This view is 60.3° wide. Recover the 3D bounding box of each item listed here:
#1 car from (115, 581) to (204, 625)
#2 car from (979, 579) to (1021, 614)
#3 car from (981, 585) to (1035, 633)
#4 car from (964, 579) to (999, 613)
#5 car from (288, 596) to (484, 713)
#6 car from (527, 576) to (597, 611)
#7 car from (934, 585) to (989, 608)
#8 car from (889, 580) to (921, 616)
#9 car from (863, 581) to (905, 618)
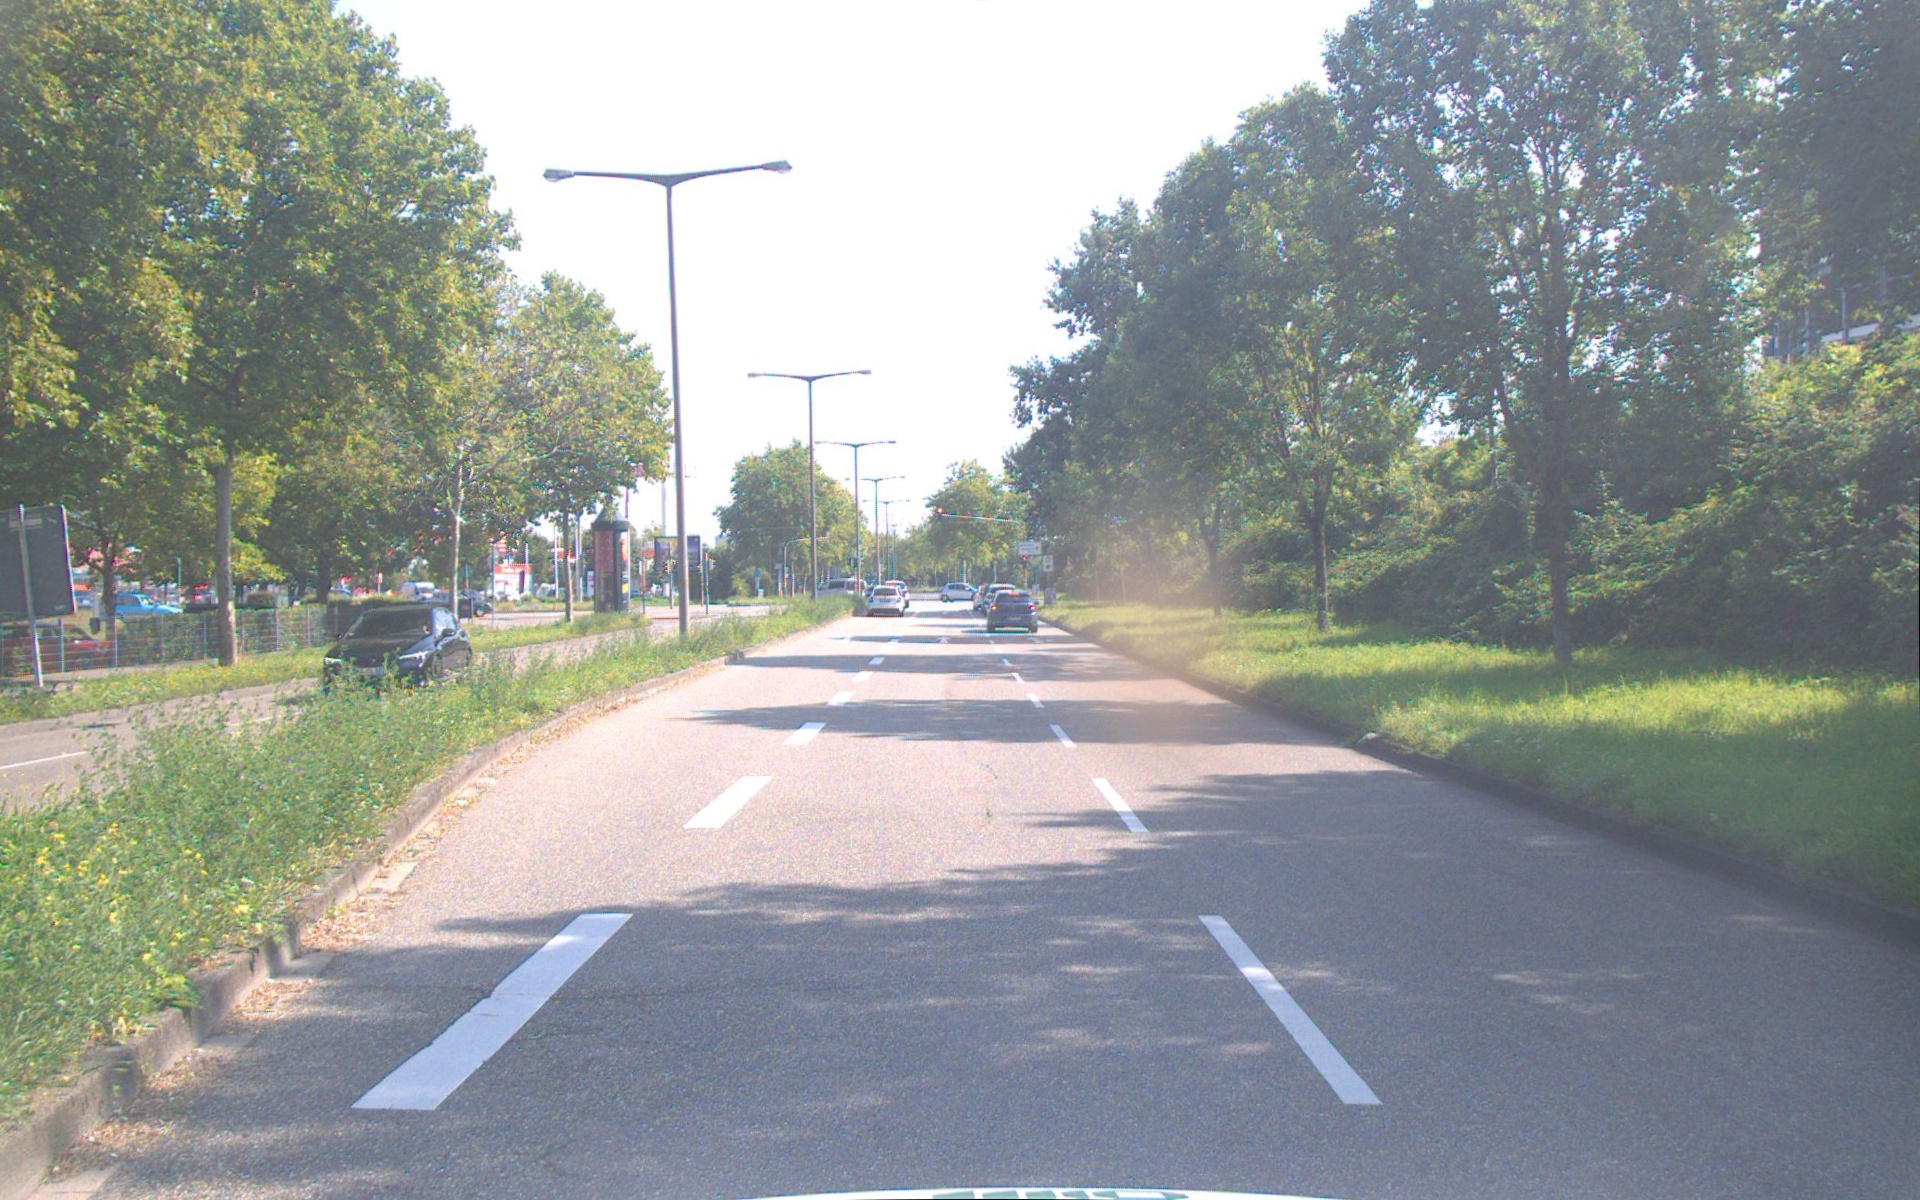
[{"bbox_3d":[-40.971,0.127,84.702,3.947,2.048,1.979,-1,3,-32],"label":"car"},{"bbox_3d":[1.995,-0.195,84.110,1.953,1.683,3.999,-2,0,-1],"label":"car"},{"bbox_3d":[1.668,0.297,58.492,1.744,1.452,4.001,1,3,-1],"label":"car"},{"bbox_3d":[1.242,-0.250,97.061,1.953,1.682,4.001,1,4,-1],"label":"car"},{"bbox_3d":[-9.475,0.843,27.655,1.953,1.588,4.000,1,3,-1],"label":"car"},{"bbox_3d":[-25.429,-0.449,105.670,3.964,2.048,1.971,-2,4,-41],"label":"car"},{"bbox_3d":[0.109,-0.269,128.002,3.902,1.659,1.701,-2,0,15],"label":"car"},{"bbox_3d":[-3.444,-0.139,104.082,1.953,2.048,4.001,1,3,-1],"label":"car"},{"bbox_3d":[-3.642,-0.034,80.170,1.953,1.731,3.998,-2,0,-2],"label":"car"}]
